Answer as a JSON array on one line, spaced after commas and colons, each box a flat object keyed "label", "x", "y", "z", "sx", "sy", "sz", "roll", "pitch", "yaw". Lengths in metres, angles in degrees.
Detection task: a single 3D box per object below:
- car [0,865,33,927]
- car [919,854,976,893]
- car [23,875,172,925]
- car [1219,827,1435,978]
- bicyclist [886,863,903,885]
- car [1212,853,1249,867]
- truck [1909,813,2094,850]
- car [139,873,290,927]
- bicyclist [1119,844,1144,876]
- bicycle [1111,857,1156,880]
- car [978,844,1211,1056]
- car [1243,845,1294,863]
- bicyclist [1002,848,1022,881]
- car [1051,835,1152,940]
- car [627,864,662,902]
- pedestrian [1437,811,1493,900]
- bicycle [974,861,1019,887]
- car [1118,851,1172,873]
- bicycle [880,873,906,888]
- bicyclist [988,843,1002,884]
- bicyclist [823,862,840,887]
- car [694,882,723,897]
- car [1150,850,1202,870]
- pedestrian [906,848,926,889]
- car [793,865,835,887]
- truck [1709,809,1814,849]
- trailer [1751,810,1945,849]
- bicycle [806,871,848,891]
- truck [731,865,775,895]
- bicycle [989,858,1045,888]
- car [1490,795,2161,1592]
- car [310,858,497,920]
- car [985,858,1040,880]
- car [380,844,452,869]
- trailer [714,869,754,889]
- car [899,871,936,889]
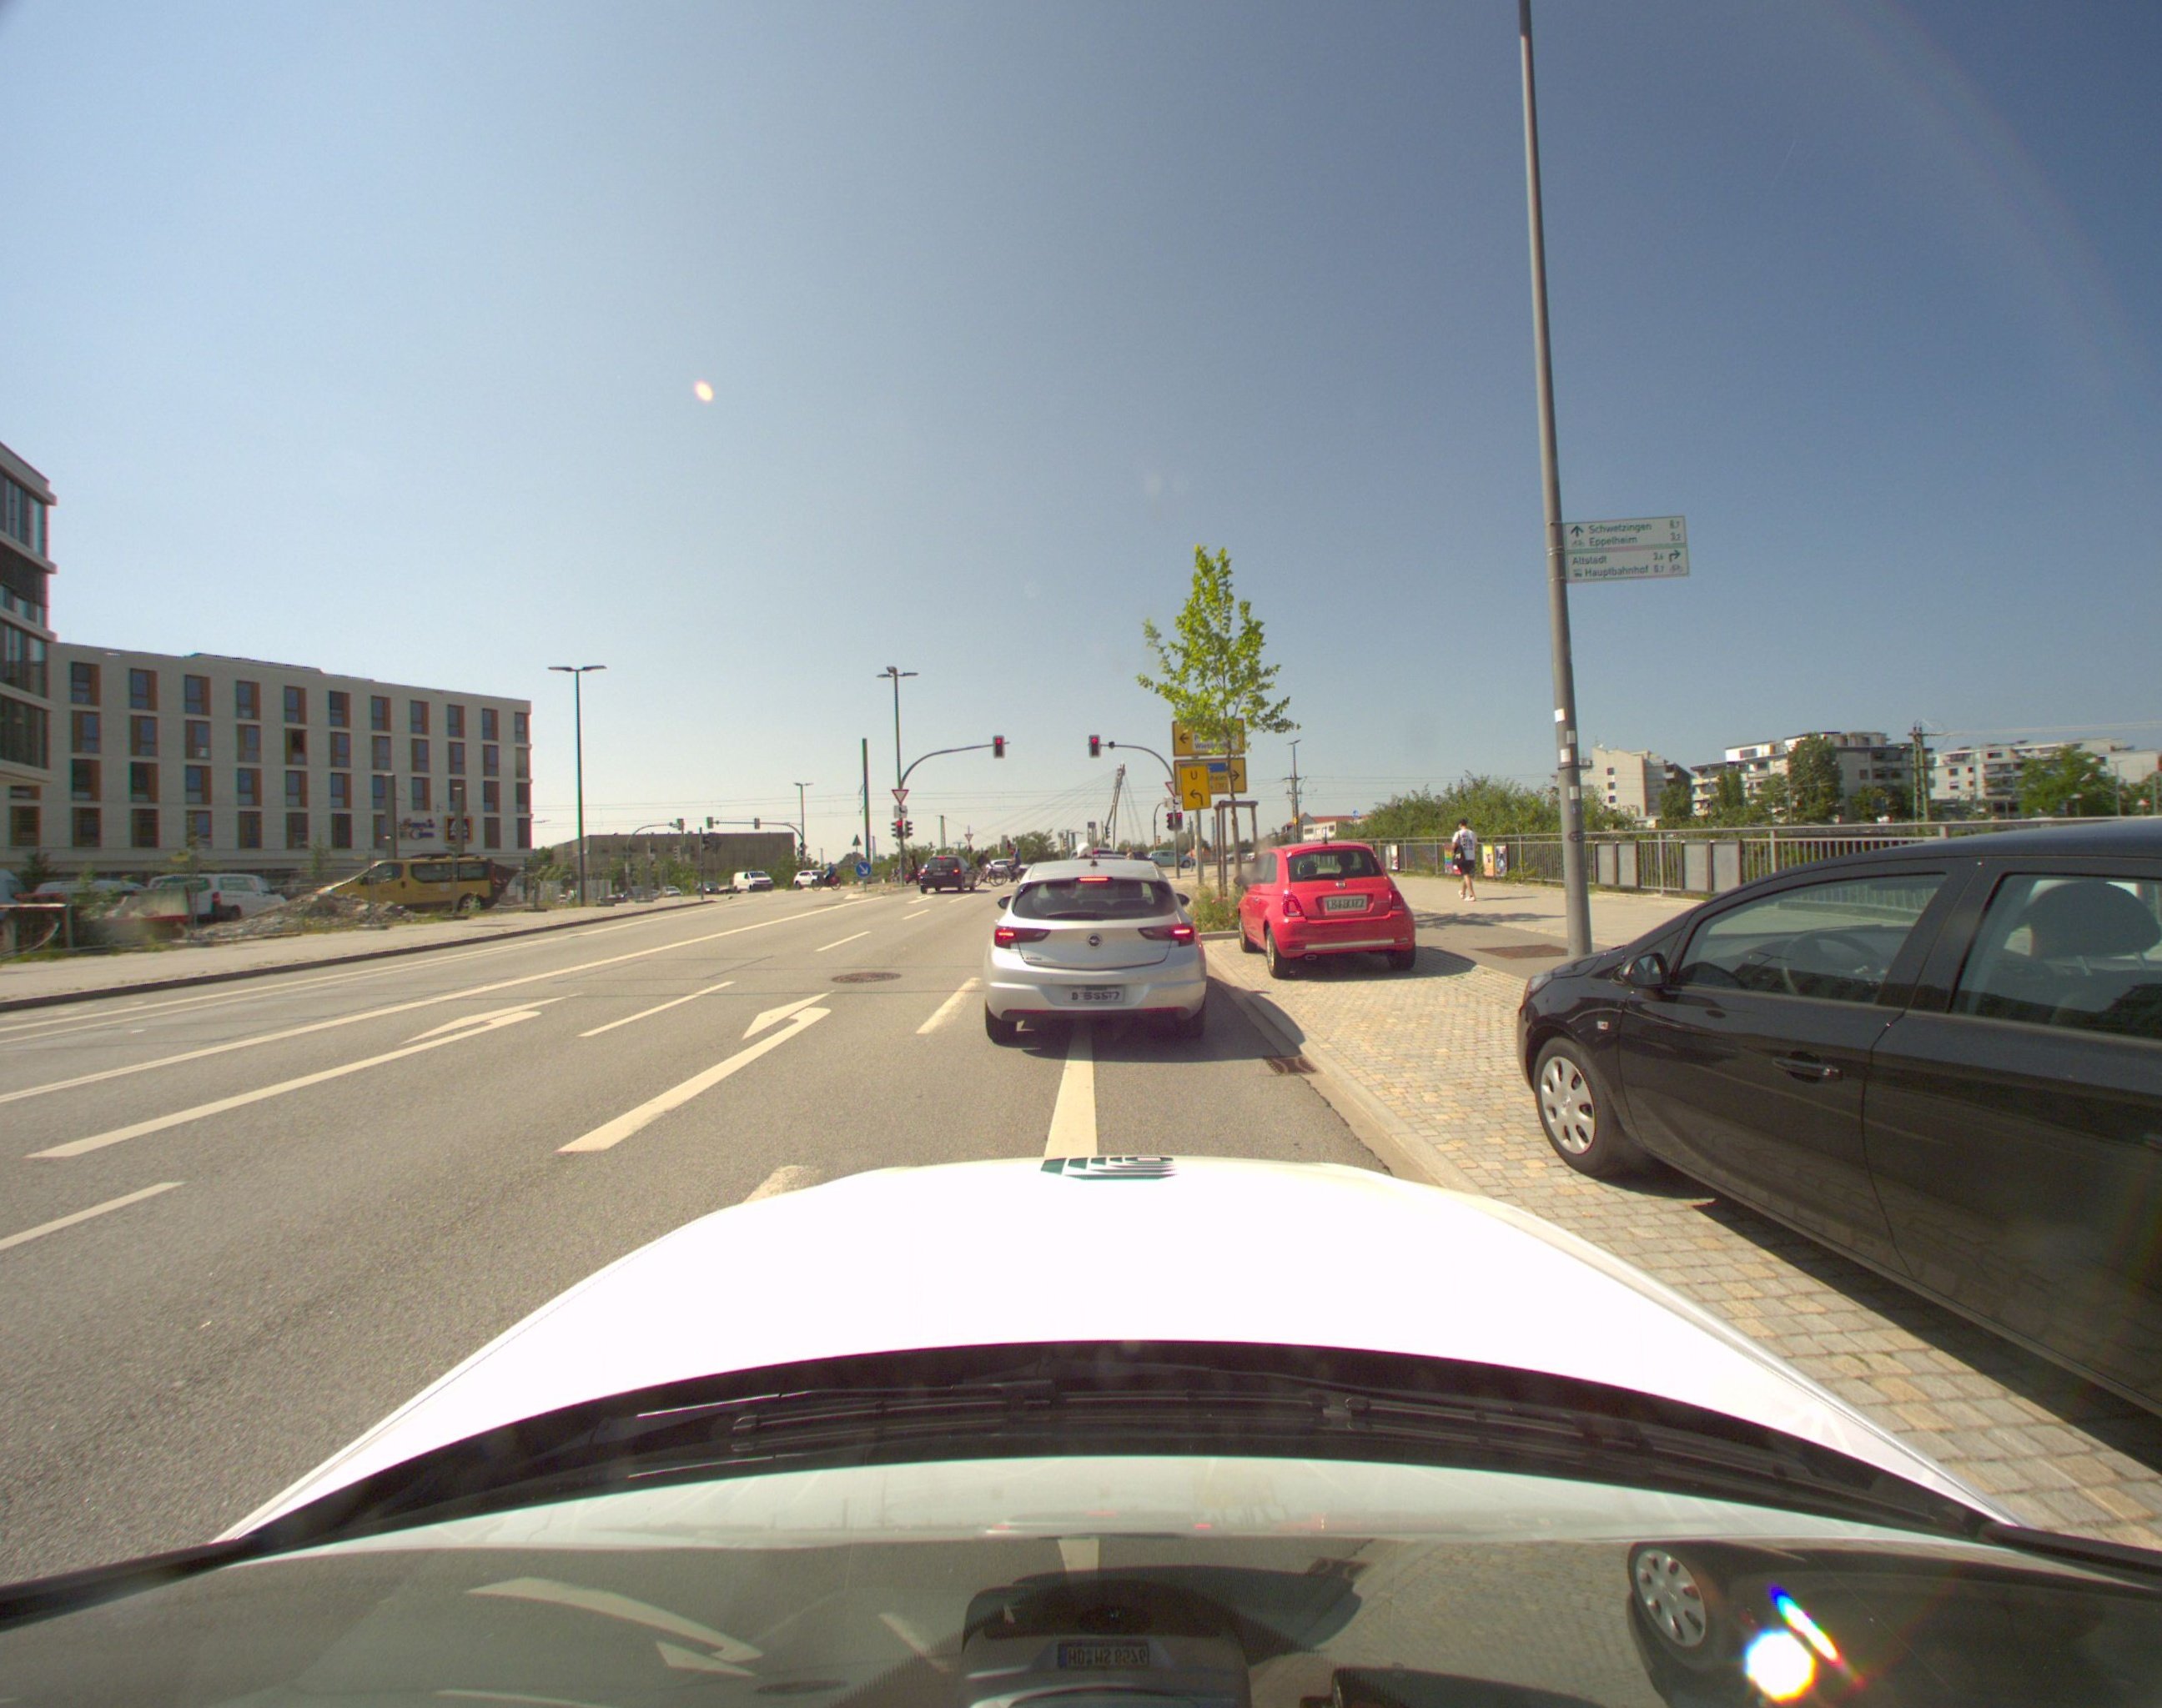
[{"label": "car", "x": -36.193, "y": 1.367, "z": 25.755, "sx": 2.220, "sy": 2.056, "sz": 4.133, "roll": 0, "pitch": -1, "yaw": -28}, {"label": "car", "x": -5.160, "y": 0.758, "z": 31.918, "sx": 1.581, "sy": 1.395, "sz": 3.340, "roll": -2, "pitch": -1, "yaw": 1}, {"label": "car", "x": -33.607, "y": 1.518, "z": 27.994, "sx": 1.809, "sy": 1.508, "sz": 3.965, "roll": 0, "pitch": -1, "yaw": -27}, {"label": "car", "x": 2.990, "y": 0.511, "z": 10.764, "sx": 1.663, "sy": 1.540, "sz": 3.917, "roll": -3, "pitch": 0, "yaw": 1}, {"label": "bicyclist", "x": -13.701, "y": 1.483, "z": 59.825, "sx": 0.765, "sy": 1.610, "sz": 0.953, "roll": -1, "pitch": -1, "yaw": 19}, {"label": "car", "x": 14.662, "y": 0.612, "z": 79.775, "sx": 3.216, "sy": 1.304, "sz": 1.516, "roll": 0, "pitch": -1, "yaw": -14}, {"label": "truck", "x": 86.688, "y": -2.050, "z": 76.630, "sx": 17.857, "sy": 3.204, "sz": 3.723, "roll": 0, "pitch": -1, "yaw": -14}, {"label": "car", "x": -31.020, "y": 1.578, "z": 29.360, "sx": 2.003, "sy": 1.707, "sz": 4.526, "roll": 0, "pitch": -1, "yaw": -23}, {"label": "bicyclist", "x": 2.508, "y": 0.315, "z": 40.338, "sx": 0.952, "sy": 1.569, "sz": 0.813, "roll": 1, "pitch": -1, "yaw": -36}, {"label": "bicycle", "x": 2.602, "y": 0.725, "z": 40.378, "sx": 2.376, "sy": 1.127, "sz": 0.670, "roll": 0, "pitch": -1, "yaw": -37}, {"label": "car", "x": 0.147, "y": 0.708, "z": 8.100, "sx": 1.684, "sy": 1.520, "sz": 4.272, "roll": -1, "pitch": 0, "yaw": 1}, {"label": "car", "x": 17.874, "y": -0.025, "z": 77.708, "sx": 4.254, "sy": 1.673, "sz": 1.989, "roll": -1, "pitch": -1, "yaw": -16}, {"label": "bicyclist", "x": -3.325, "y": 0.510, "z": 39.428, "sx": 0.818, "sy": 1.560, "sz": 0.864, "roll": 0, "pitch": -1, "yaw": 4}, {"label": "car", "x": 0.373, "y": 0.560, "z": 14.959, "sx": 1.629, "sy": 1.674, "sz": 3.745, "roll": 0, "pitch": -1, "yaw": 1}, {"label": "car", "x": -24.348, "y": 1.558, "z": 45.430, "sx": 1.680, "sy": 2.014, "sz": 3.963, "roll": 0, "pitch": -1, "yaw": -28}, {"label": "pedestrian", "x": 8.079, "y": 0.032, "z": 17.172, "sx": 0.755, "sy": 1.830, "sz": 0.885, "roll": 0, "pitch": -1, "yaw": 1}, {"label": "bicycle", "x": -3.948, "y": 0.944, "z": 38.094, "sx": 2.076, "sy": 1.178, "sz": 0.555, "roll": 0, "pitch": -1, "yaw": -3}, {"label": "car", "x": 4.720, "y": 0.588, "z": 60.584, "sx": 3.741, "sy": 1.583, "sz": 1.811, "roll": -1, "pitch": -1, "yaw": -5}, {"label": "bicycle", "x": -13.817, "y": 1.940, "z": 59.880, "sx": 1.850, "sy": 1.068, "sz": 0.581, "roll": -1, "pitch": -1, "yaw": 20}, {"label": "bicyclist", "x": -4.000, "y": 0.452, "z": 38.098, "sx": 0.592, "sy": 1.887, "sz": 0.636, "roll": 0, "pitch": -1, "yaw": -2}, {"label": "bicyclist", "x": -14.966, "y": 1.222, "z": 48.842, "sx": 0.716, "sy": 1.504, "sz": 0.824, "roll": -1, "pitch": -1, "yaw": 2}, {"label": "car", "x": -37.251, "y": 3.501, "z": 81.450, "sx": 1.675, "sy": 1.390, "sz": 3.742, "roll": 1, "pitch": -1, "yaw": -41}, {"label": "car", "x": 7.421, "y": 0.475, "z": 63.946, "sx": 3.782, "sy": 1.362, "sz": 1.530, "roll": -2, "pitch": 0, "yaw": -4}, {"label": "pedestrian", "x": -7.723, "y": 0.678, "z": 38.098, "sx": 0.737, "sy": 1.863, "sz": 0.754, "roll": 0, "pitch": -1, "yaw": 1}, {"label": "car", "x": -23.686, "y": 1.950, "z": 72.144, "sx": 3.995, "sy": 1.815, "sz": 1.943, "roll": -1, "pitch": -1, "yaw": 44}, {"label": "truck", "x": 57.675, "y": -2.032, "z": 69.079, "sx": 6.478, "sy": 3.204, "sz": 3.722, "roll": 0, "pitch": -1, "yaw": -14}, {"label": "trailer", "x": 67.419, "y": -2.043, "z": 71.533, "sx": 17.225, "sy": 3.204, "sz": 3.723, "roll": 0, "pitch": -1, "yaw": -14}, {"label": "bicycle", "x": -15.245, "y": 1.593, "z": 48.831, "sx": 2.310, "sy": 1.133, "sz": 0.637, "roll": -1, "pitch": -1, "yaw": 2}, {"label": "truck", "x": -29.363, "y": 2.309, "z": 72.863, "sx": 2.012, "sy": 2.540, "sz": 4.650, "roll": 0, "pitch": -1, "yaw": -45}, {"label": "bicycle", "x": -3.077, "y": 0.910, "z": 39.405, "sx": 2.513, "sy": 1.134, "sz": 0.729, "roll": -6, "pitch": 2, "yaw": 4}, {"label": "car", "x": 2.907, "y": 0.637, "z": 2.415, "sx": 1.576, "sy": 1.555, "sz": 3.548, "roll": -4, "pitch": 0, "yaw": 1}, {"label": "car", "x": -22.569, "y": 1.100, "z": 27.276, "sx": 1.974, "sy": 1.890, "sz": 4.514, "roll": -1, "pitch": -1, "yaw": 40}, {"label": "car", "x": -5.342, "y": 1.153, "z": 63.845, "sx": 3.952, "sy": 1.551, "sz": 1.679, "roll": -2, "pitch": -1, "yaw": 8}, {"label": "car", "x": -54.247, "y": 0.182, "z": 66.505, "sx": 3.990, "sy": 2.014, "sz": 1.992, "roll": 0, "pitch": -1, "yaw": -12}, {"label": "trailer", "x": -32.428, "y": 2.341, "z": 76.011, "sx": 2.011, "sy": 1.776, "sz": 4.233, "roll": 1, "pitch": -1, "yaw": -45}, {"label": "car", "x": -16.127, "y": 2.547, "z": 80.418, "sx": 3.347, "sy": 1.655, "sz": 1.658, "roll": -1, "pitch": -1, "yaw": 31}]
